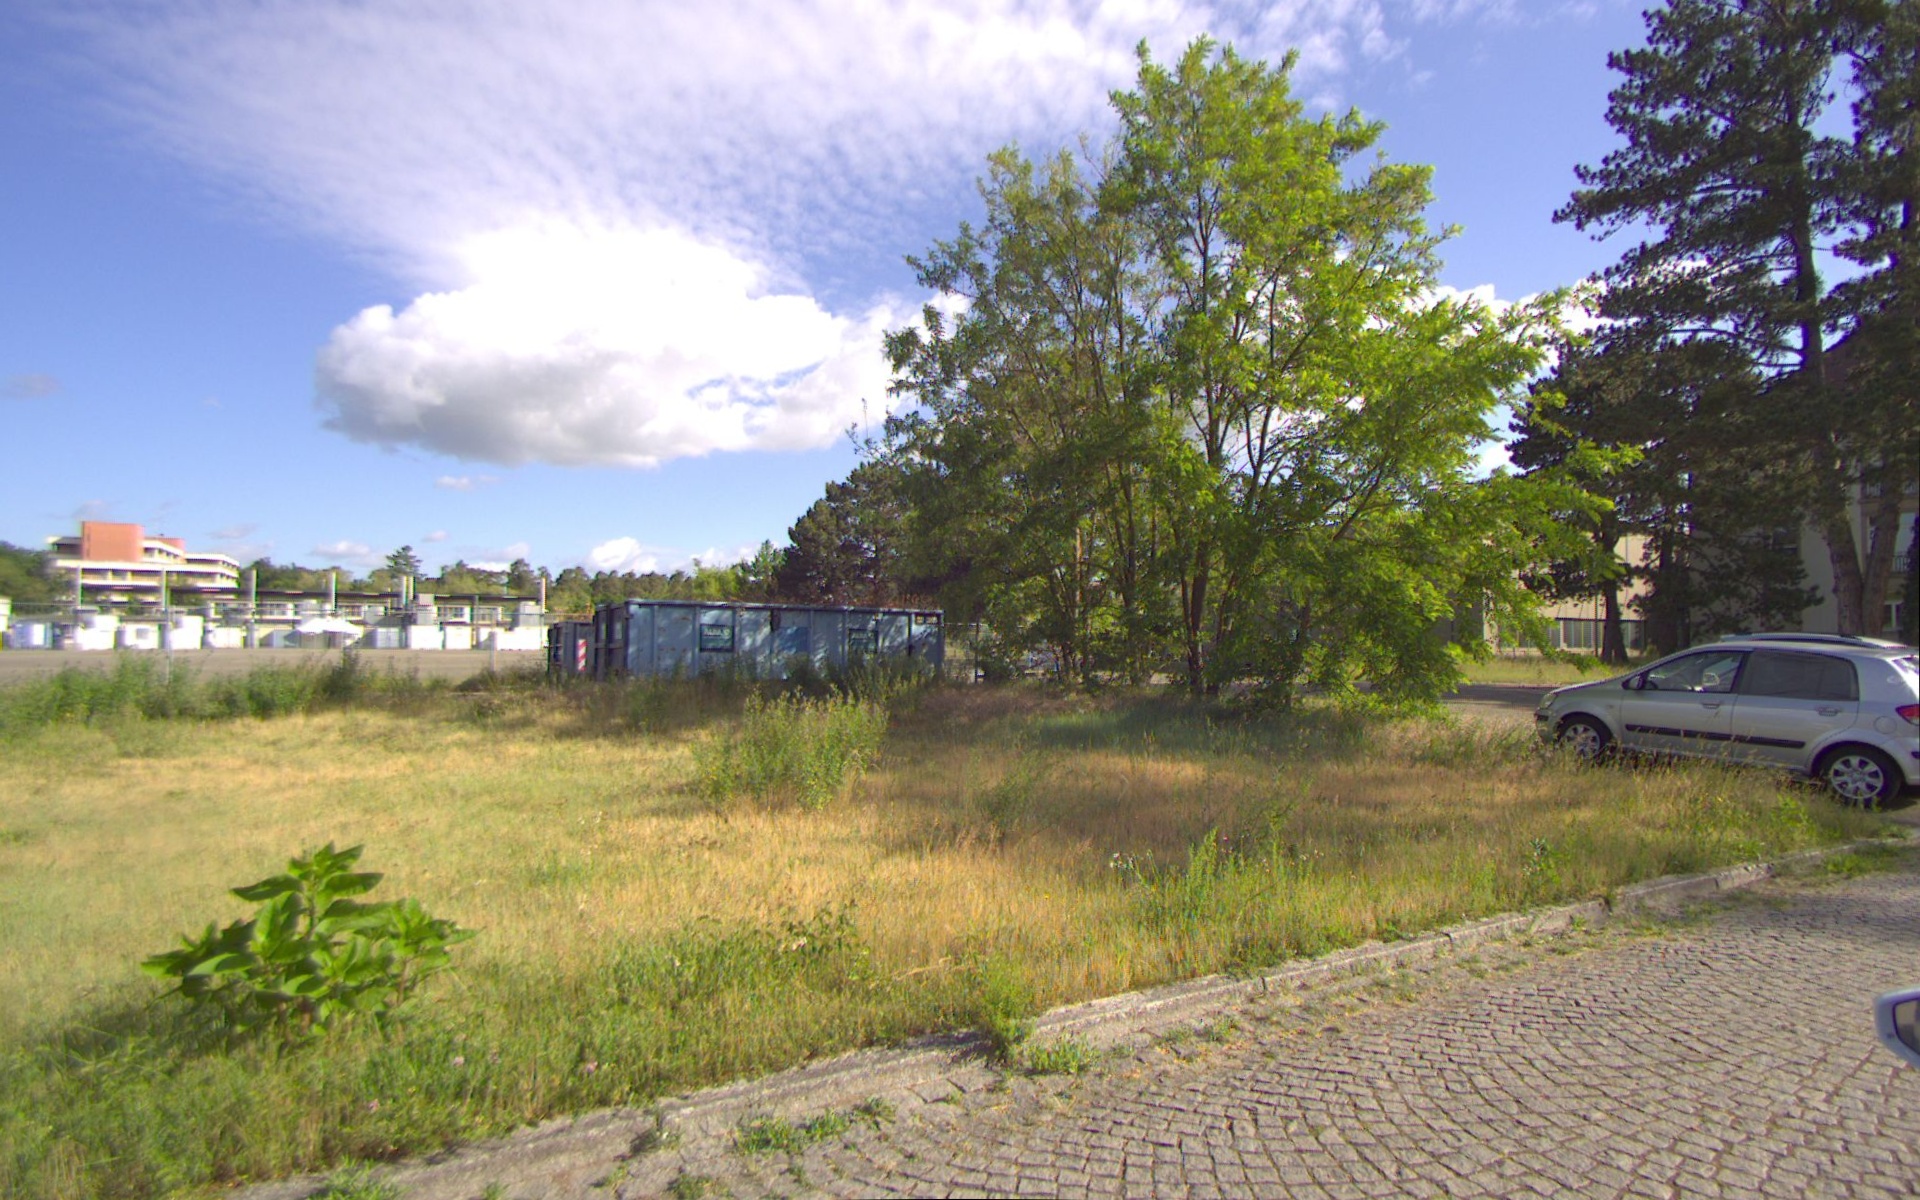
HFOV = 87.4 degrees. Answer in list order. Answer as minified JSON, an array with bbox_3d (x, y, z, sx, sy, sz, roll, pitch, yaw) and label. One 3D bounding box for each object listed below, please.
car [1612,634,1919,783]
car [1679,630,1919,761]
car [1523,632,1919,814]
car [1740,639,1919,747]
[{"bbox_3d":[10.551,1.237,12.281,1.783,1.500,3.965,1,0,-32],"label":"car"},{"bbox_3d":[12.866,1.293,14.141,1.865,1.614,4.057,1,0,-32],"label":"car"},{"bbox_3d":[8.367,1.156,10.794,1.628,1.507,3.725,1,0,-32],"label":"car"},{"bbox_3d":[14.839,1.431,15.309,1.810,1.488,4.309,1,0,-32],"label":"car"}]
